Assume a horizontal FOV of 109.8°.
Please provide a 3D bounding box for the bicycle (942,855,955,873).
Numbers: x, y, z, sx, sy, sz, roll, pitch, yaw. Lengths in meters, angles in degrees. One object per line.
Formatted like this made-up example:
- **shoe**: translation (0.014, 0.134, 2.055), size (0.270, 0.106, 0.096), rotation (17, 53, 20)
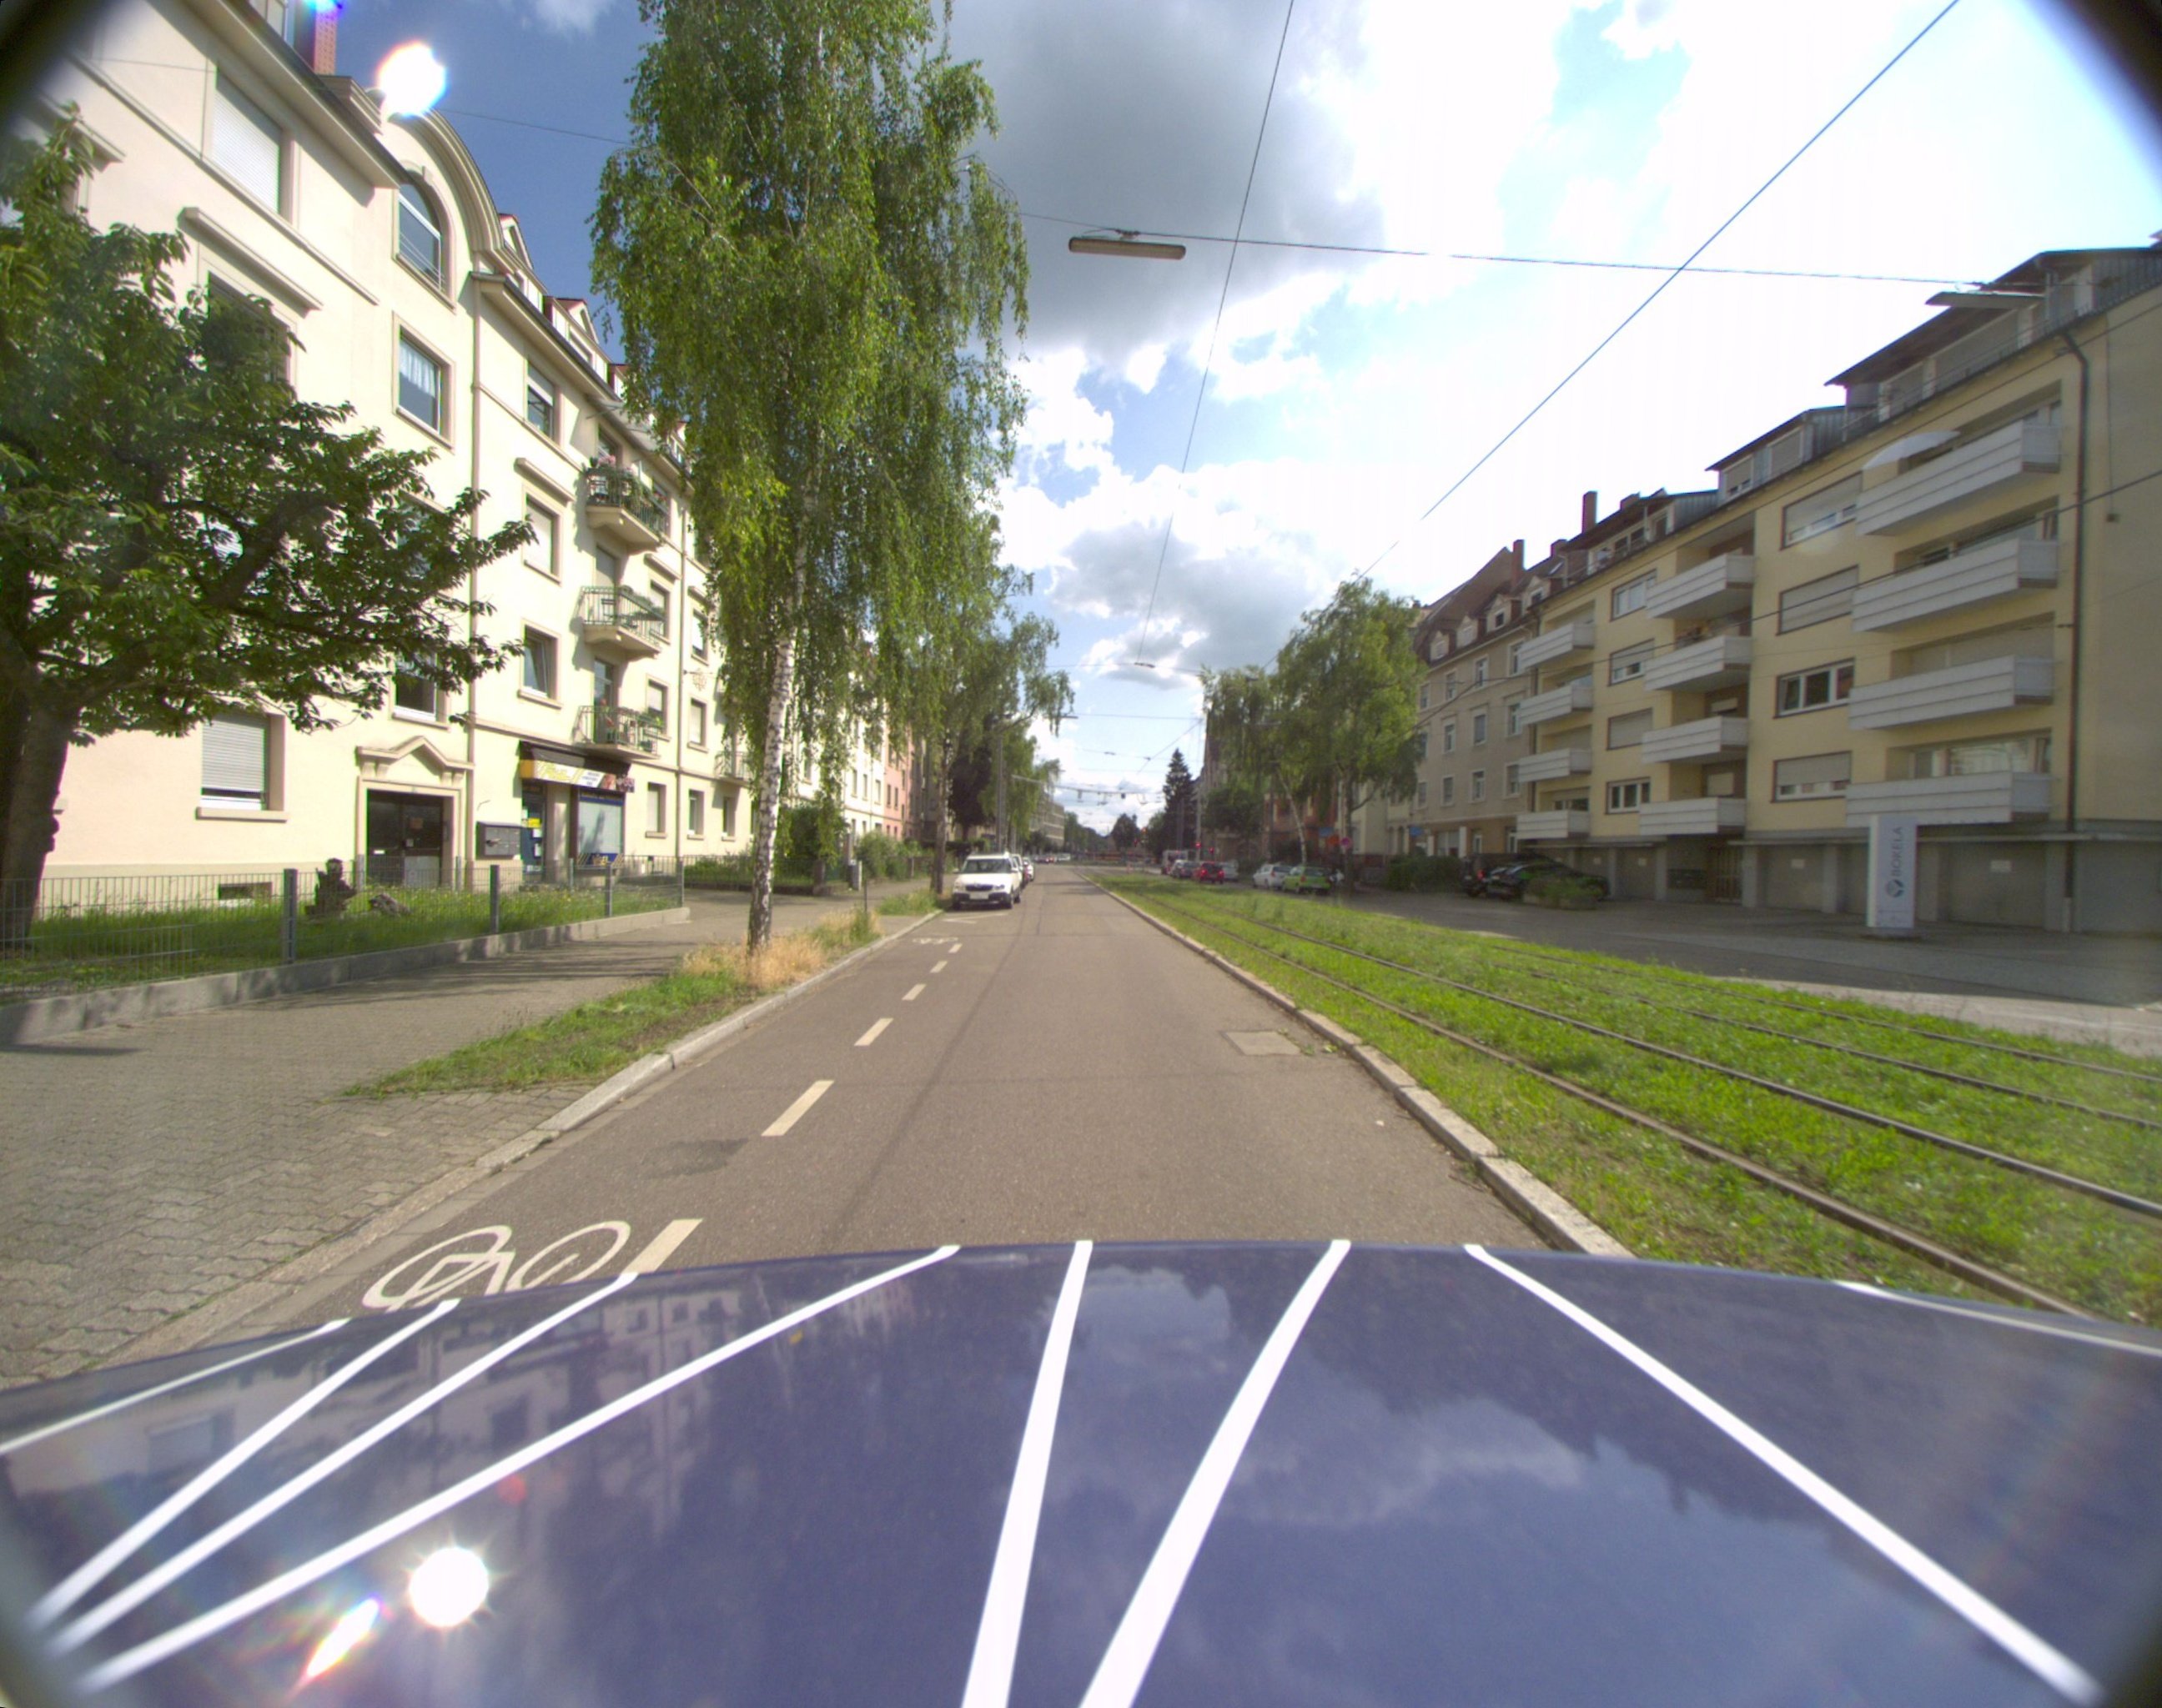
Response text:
- **bicycle**: translation (-8.440, 0.618, 48.458), size (0.473, 1.071, 2.182), rotation (2, 0, -1)

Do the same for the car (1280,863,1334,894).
- **car**: translation (11.677, 1.241, 39.458), size (1.598, 1.423, 3.614), rotation (2, 0, -1)

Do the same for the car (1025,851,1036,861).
- **car**: translation (-9.328, 0.414, 140.761), size (1.999, 1.730, 3.998), rotation (2, 0, -3)

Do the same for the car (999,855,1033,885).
- **car**: translation (-3.431, 0.835, 40.501), size (1.593, 1.444, 3.843), rotation (-2, 0, -2)

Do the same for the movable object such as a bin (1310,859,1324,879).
- **movable object such as a bin**: translation (16.857, 1.060, 54.296), size (0.675, 1.354, 0.699), rotation (1, 0, -5)

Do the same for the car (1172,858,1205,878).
- **car**: translation (8.155, 1.030, 57.868), size (1.759, 1.348, 4.511), rotation (3, 1, 0)

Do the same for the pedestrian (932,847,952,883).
- **pedestrian**: translation (-6.654, 0.505, 36.374), size (0.731, 1.673, 0.691), rotation (3, 1, 1)

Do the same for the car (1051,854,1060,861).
- **car**: translation (-4.881, 0.671, 145.571), size (1.620, 1.265, 4.000), rotation (0, 0, 2)

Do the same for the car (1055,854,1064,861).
- **car**: translation (-4.266, 0.659, 154.062), size (1.620, 1.265, 4.000), rotation (0, 0, 2)

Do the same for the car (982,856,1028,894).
- **car**: translation (-3.065, 0.811, 31.209), size (1.677, 1.409, 3.794), rotation (-2, 0, -3)

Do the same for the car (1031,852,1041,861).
- **car**: translation (-8.787, 0.534, 149.117), size (1.836, 1.674, 3.999), rotation (2, 0, -2)

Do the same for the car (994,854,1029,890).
- **car**: translation (-3.201, 0.797, 35.666), size (1.498, 1.570, 3.757), rotation (-1, 0, -3)

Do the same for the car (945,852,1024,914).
- **car**: translation (-2.724, 0.763, 22.220), size (1.725, 1.620, 4.000), rotation (-1, 0, 1)

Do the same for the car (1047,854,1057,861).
- **car**: translation (-5.228, 0.675, 136.515), size (1.620, 1.265, 4.000), rotation (0, 0, 2)

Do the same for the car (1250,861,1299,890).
- **car**: translation (11.332, 1.237, 44.683), size (1.649, 1.469, 4.225), rotation (3, 0, -1)

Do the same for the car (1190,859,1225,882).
- **car**: translation (8.425, 1.078, 50.762), size (1.583, 1.378, 3.692), rotation (2, 0, -1)

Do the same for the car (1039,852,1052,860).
- **car**: translation (-5.763, 0.267, 122.693), size (1.741, 1.313, 4.000), rotation (0, 0, 2)

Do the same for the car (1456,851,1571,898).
- **car**: translation (19.062, 0.878, 33.637), size (3.996, 2.002, 1.937), rotation (0, 0, 1)

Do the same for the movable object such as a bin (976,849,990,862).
- **movable object such as a bin**: translation (-11.254, 0.184, 87.327), size (1.305, 1.483, 2.000), rotation (2, 0, -1)

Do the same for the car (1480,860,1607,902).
- **car**: translation (18.740, 1.073, 30.941), size (3.998, 1.593, 1.972), rotation (0, 0, -2)

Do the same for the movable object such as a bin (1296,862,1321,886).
- **movable object such as a bin**: translation (13.698, 1.200, 45.744), size (0.953, 1.421, 1.521), rotation (-1, 0, -3)

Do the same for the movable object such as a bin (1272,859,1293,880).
- **movable object such as a bin**: translation (13.887, 1.054, 52.379), size (0.953, 1.359, 1.521), rotation (-4, 0, -3)

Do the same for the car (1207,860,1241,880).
- **car**: translation (10.847, 1.178, 57.939), size (1.759, 1.348, 3.994), rotation (2, 0, 0)

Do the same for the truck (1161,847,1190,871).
- **truck**: translation (9.071, 0.478, 73.811), size (2.190, 2.201, 6.613), rotation (2, 0, 2)

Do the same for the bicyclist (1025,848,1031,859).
- **bicyclist**: translation (-8.191, -0.128, 117.311), size (0.665, 1.679, 0.857), rotation (2, 1, 3)

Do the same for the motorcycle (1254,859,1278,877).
- **motorcycle**: translation (13.406, 1.023, 55.163), size (0.903, 1.235, 2.293), rotation (1, 0, -8)

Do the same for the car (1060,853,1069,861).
- **car**: translation (-3.508, 0.642, 166.602), size (1.739, 1.570, 4.000), rotation (2, 0, 2)

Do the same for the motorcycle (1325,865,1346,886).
- **motorcycle**: translation (13.848, 1.159, 41.379), size (0.500, 1.037, 1.631), rotation (-2, 1, -2)

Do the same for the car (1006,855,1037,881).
- **car**: translation (-3.517, 0.799, 45.506), size (1.624, 1.444, 3.917), rotation (-2, 0, -2)

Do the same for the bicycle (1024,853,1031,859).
- **bicycle**: translation (-8.200, 0.299, 117.333), size (0.771, 0.885, 1.892), rotation (2, 0, 4)

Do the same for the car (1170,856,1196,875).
- **car**: translation (8.603, 0.982, 64.426), size (1.759, 1.406, 4.134), rotation (3, 1, 2)
